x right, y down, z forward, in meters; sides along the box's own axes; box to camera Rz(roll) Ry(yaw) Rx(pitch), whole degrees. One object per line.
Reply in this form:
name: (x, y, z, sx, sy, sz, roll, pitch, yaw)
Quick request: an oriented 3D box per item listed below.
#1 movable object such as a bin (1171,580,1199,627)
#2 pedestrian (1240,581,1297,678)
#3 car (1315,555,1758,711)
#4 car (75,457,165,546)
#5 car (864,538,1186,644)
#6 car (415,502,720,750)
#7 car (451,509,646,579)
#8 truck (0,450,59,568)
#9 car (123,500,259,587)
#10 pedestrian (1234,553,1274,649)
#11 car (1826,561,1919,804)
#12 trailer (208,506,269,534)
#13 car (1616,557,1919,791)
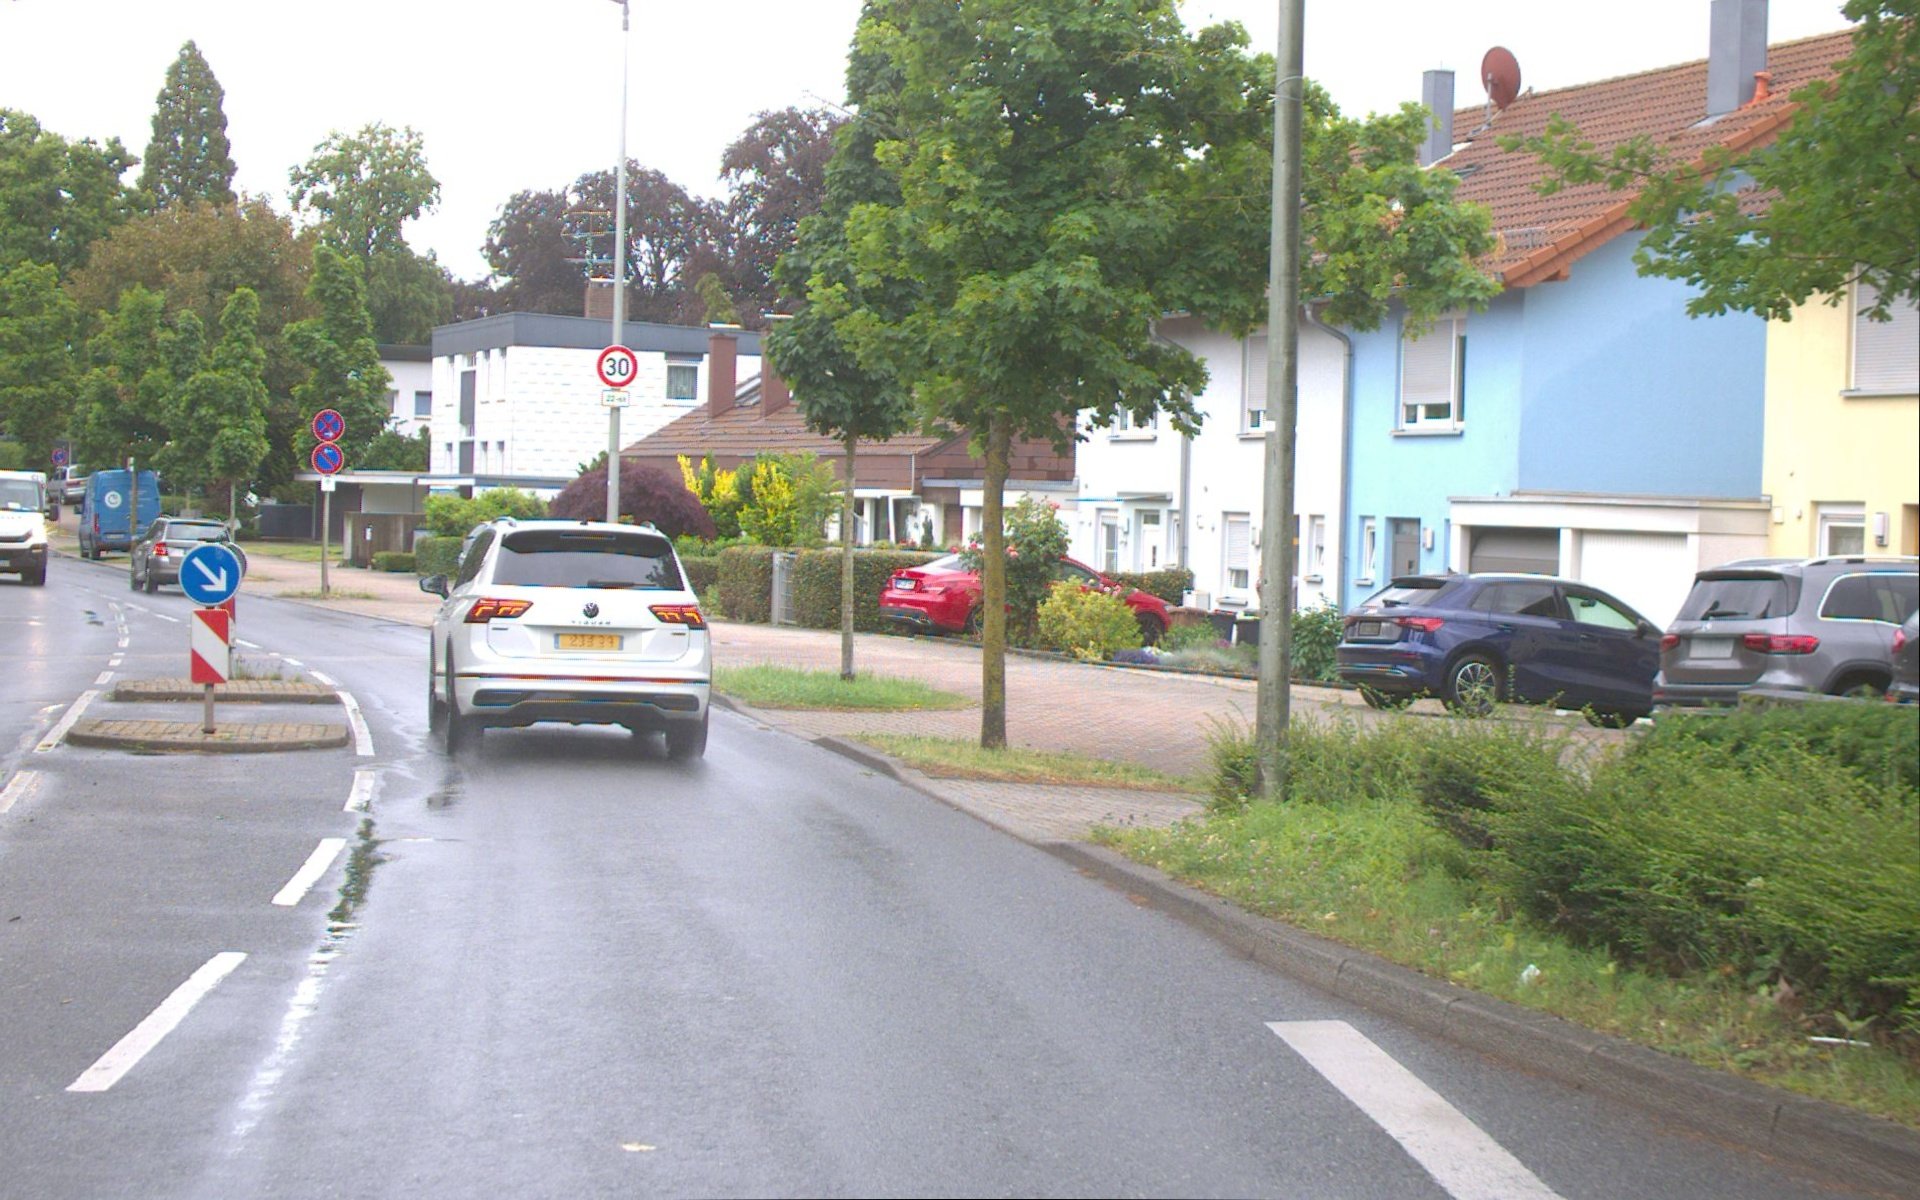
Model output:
movable object such as a bin: (3.104, 0.050, 47.456, 0.255, 0.624, 0.325, 2, 1, -19)
pedestrian: (4.360, 0.416, 48.592, 0.535, 1.346, 0.529, 2, 1, -33)
car: (5.705, 0.328, 34.014, 3.986, 1.382, 1.675, 2, 1, -22)
car: (-24.909, -2.945, 101.826, 1.993, 2.577, 5.635, 0, 2, -20)
car: (0.950, -0.118, 49.384, 4.302, 1.256, 1.679, 3, 1, -29)
car: (-2.950, 0.141, 25.144, 1.864, 1.645, 4.001, 1, 1, -11)
car: (-9.224, -1.254, 77.031, 3.986, 1.437, 1.848, 1, 1, -21)
truck: (-19.242, -1.847, 68.728, 2.216, 2.196, 6.466, 3, 1, -15)
car: (-14.627, -1.094, 65.256, 1.768, 1.546, 4.001, 2, 1, -23)
pedestrian: (4.195, 0.016, 49.143, 0.496, 1.346, 0.564, 2, 1, 3)
car: (8.623, 0.633, 24.711, 4.178, 1.666, 1.992, 2, 1, -18)
trailer: (-26.345, -2.912, 125.501, 2.041, 0.880, 1.365, 3, 1, -17)
car: (7.558, 0.650, 27.668, 4.178, 1.666, 1.722, 4, 0, -27)
